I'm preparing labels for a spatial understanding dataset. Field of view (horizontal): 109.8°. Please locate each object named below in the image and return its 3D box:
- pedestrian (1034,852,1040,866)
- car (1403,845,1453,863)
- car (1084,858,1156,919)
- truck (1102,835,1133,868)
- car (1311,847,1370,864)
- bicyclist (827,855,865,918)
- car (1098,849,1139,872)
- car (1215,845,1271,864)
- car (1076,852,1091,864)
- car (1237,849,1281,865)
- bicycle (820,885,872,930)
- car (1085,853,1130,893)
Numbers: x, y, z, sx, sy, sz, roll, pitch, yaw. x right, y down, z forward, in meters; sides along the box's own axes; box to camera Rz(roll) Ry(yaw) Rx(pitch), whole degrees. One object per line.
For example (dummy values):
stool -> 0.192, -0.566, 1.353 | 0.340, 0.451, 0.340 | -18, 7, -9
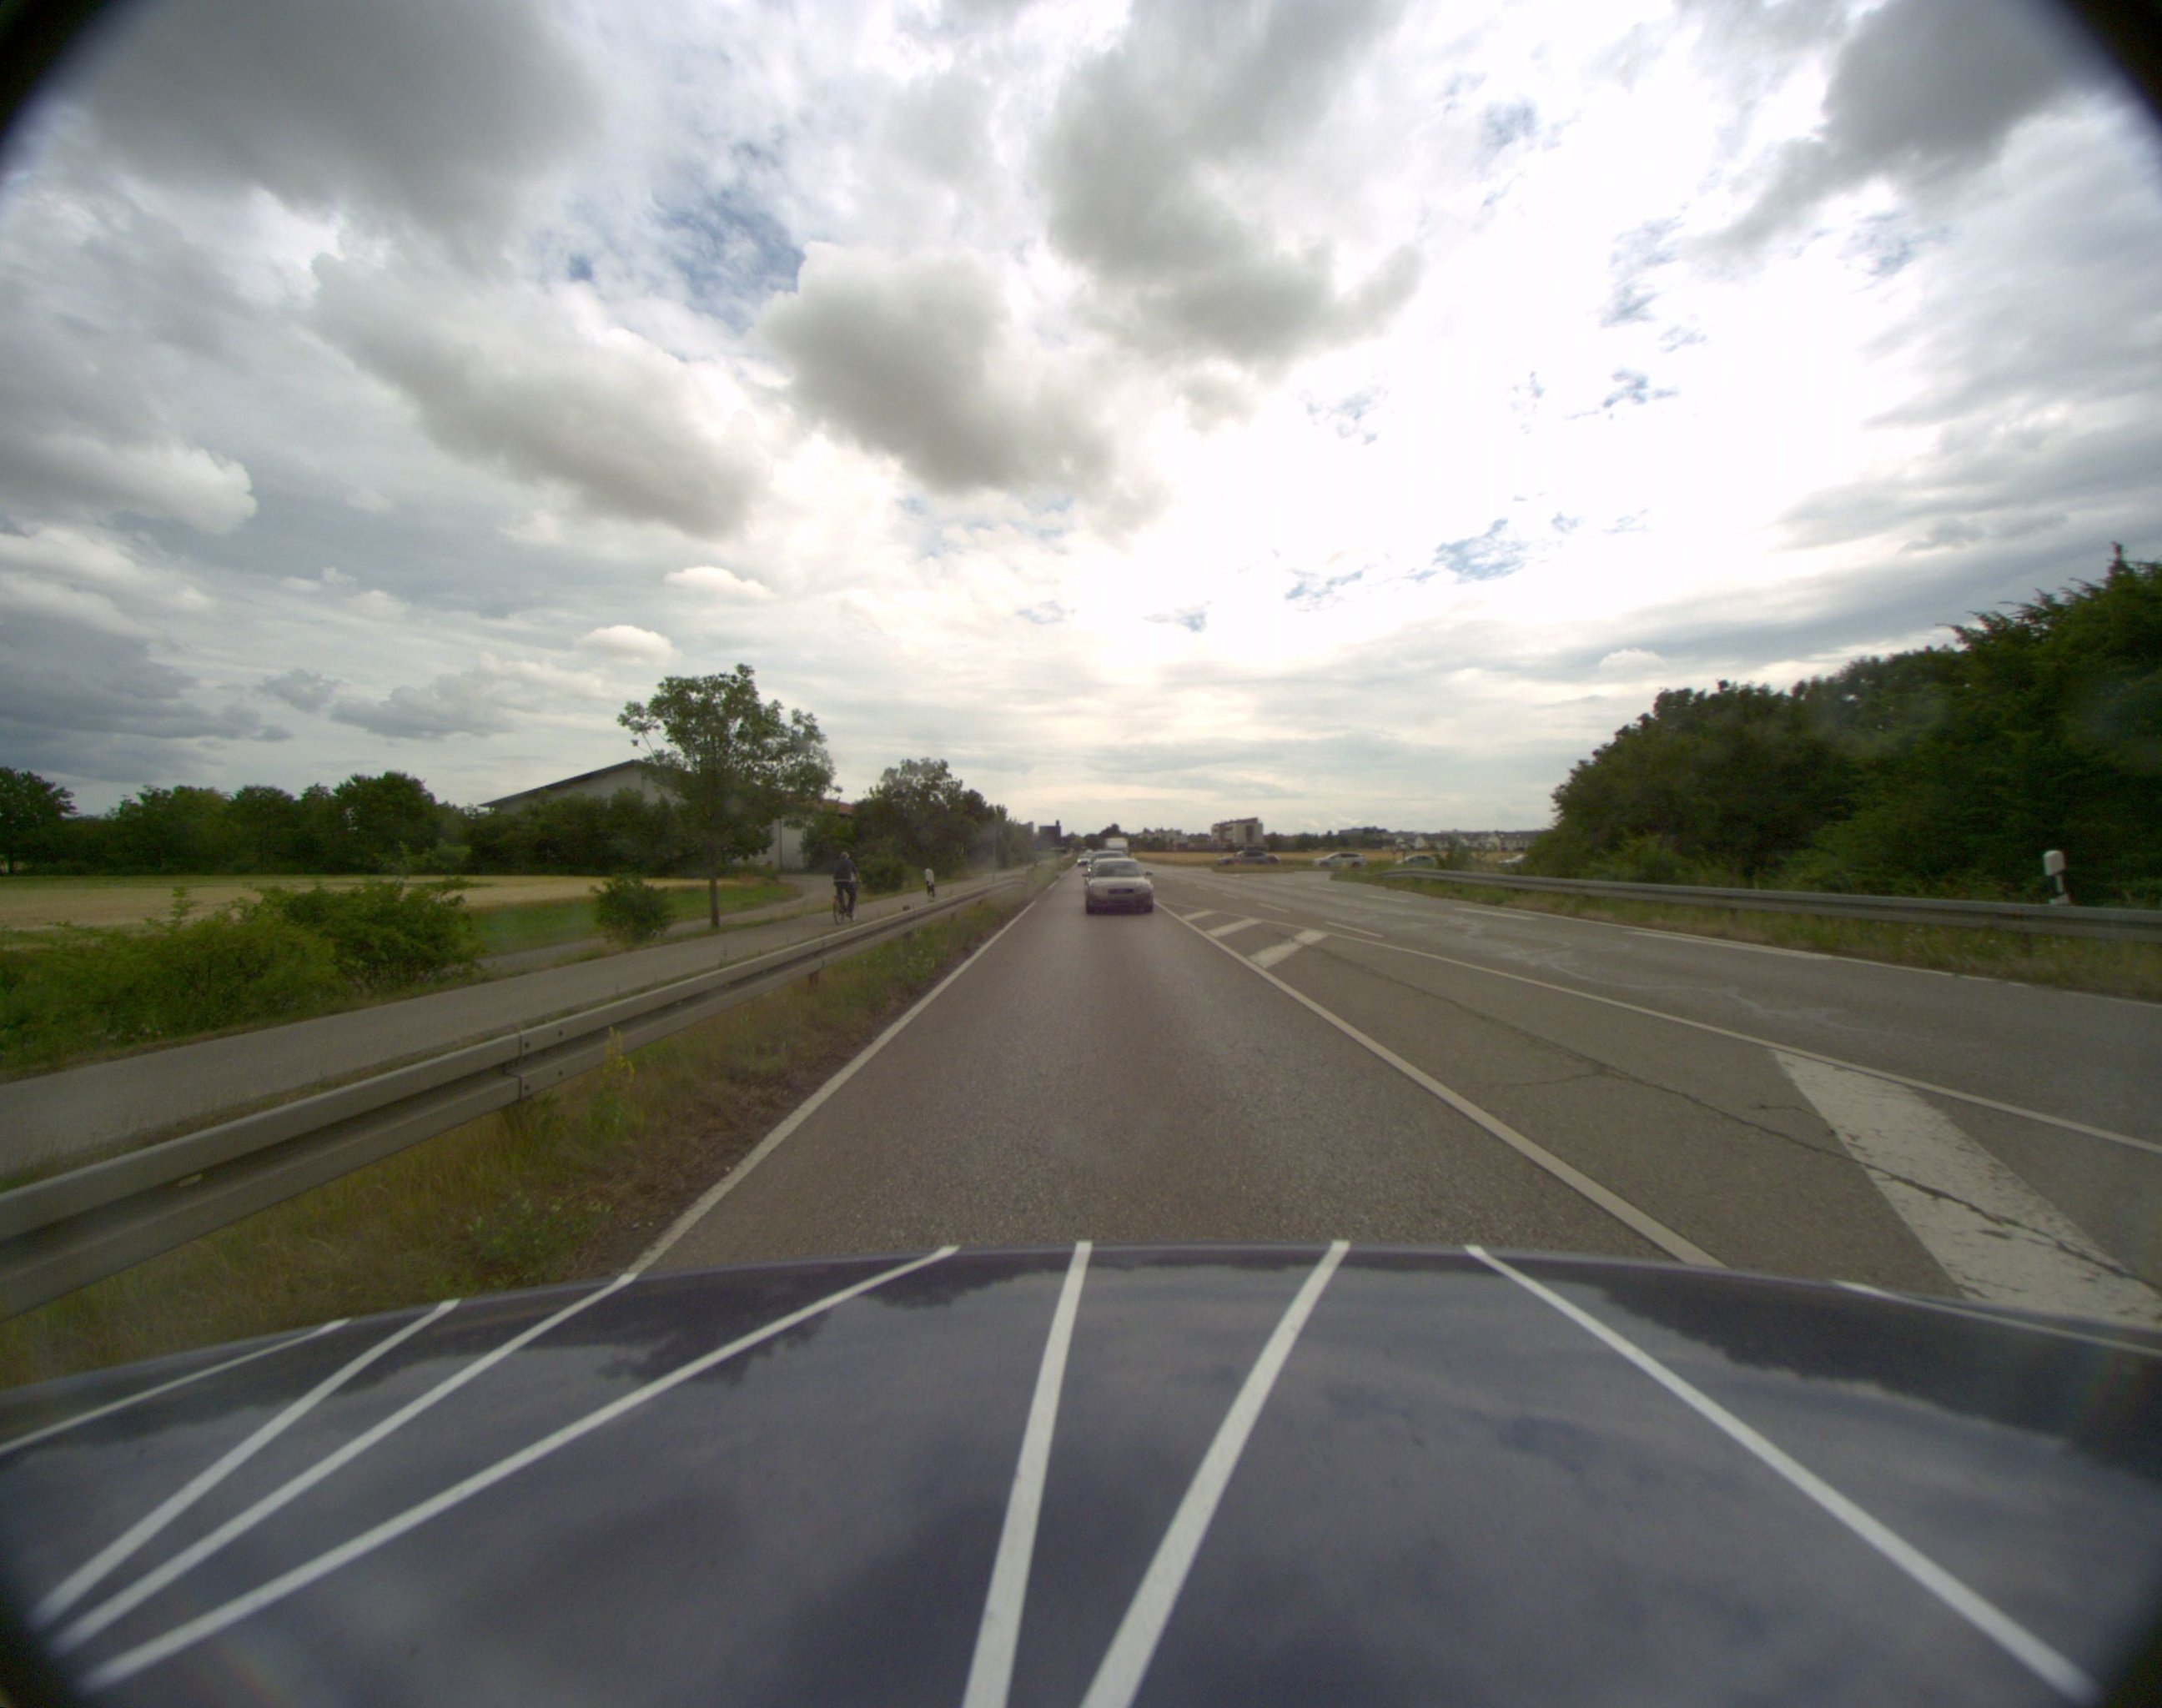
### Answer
pedestrian -> -4.819, 0.542, 83.410 | 0.591, 1.512, 0.501 | -2, 1, 7
car -> 30.958, 0.010, 67.914 | 3.714, 1.490, 1.731 | -1, 1, 8
car -> 0.977, 0.861, 20.800 | 1.730, 1.436, 4.204 | -1, 0, 0
truck -> 4.136, -0.351, 87.990 | 2.931, 3.541, 7.604 | -2, 1, -1
car -> 23.409, 0.133, 68.667 | 4.673, 1.490, 2.001 | -1, 1, 8
bicyclist -> -5.992, 0.809, 19.427 | 0.640, 1.573, 0.969 | -1, 1, 1
car -> 2.942, 0.474, 58.461 | 1.996, 1.600, 5.137 | -1, 1, 16
car -> 14.800, 0.038, 69.664 | 4.813, 1.680, 2.000 | -1, 1, 3
car -> 0.304, 0.488, 93.341 | 1.730, 1.436, 4.204 | -2, 0, 0
car -> 16.907, 0.260, 72.292 | 3.833, 1.481, 2.001 | -1, 1, 7
bicycle -> -5.981, 1.344, 19.456 | 0.640, 0.972, 2.072 | -1, 1, 1
car -> 1.069, 0.744, 32.120 | 1.730, 1.534, 4.204 | -1, 0, 0
